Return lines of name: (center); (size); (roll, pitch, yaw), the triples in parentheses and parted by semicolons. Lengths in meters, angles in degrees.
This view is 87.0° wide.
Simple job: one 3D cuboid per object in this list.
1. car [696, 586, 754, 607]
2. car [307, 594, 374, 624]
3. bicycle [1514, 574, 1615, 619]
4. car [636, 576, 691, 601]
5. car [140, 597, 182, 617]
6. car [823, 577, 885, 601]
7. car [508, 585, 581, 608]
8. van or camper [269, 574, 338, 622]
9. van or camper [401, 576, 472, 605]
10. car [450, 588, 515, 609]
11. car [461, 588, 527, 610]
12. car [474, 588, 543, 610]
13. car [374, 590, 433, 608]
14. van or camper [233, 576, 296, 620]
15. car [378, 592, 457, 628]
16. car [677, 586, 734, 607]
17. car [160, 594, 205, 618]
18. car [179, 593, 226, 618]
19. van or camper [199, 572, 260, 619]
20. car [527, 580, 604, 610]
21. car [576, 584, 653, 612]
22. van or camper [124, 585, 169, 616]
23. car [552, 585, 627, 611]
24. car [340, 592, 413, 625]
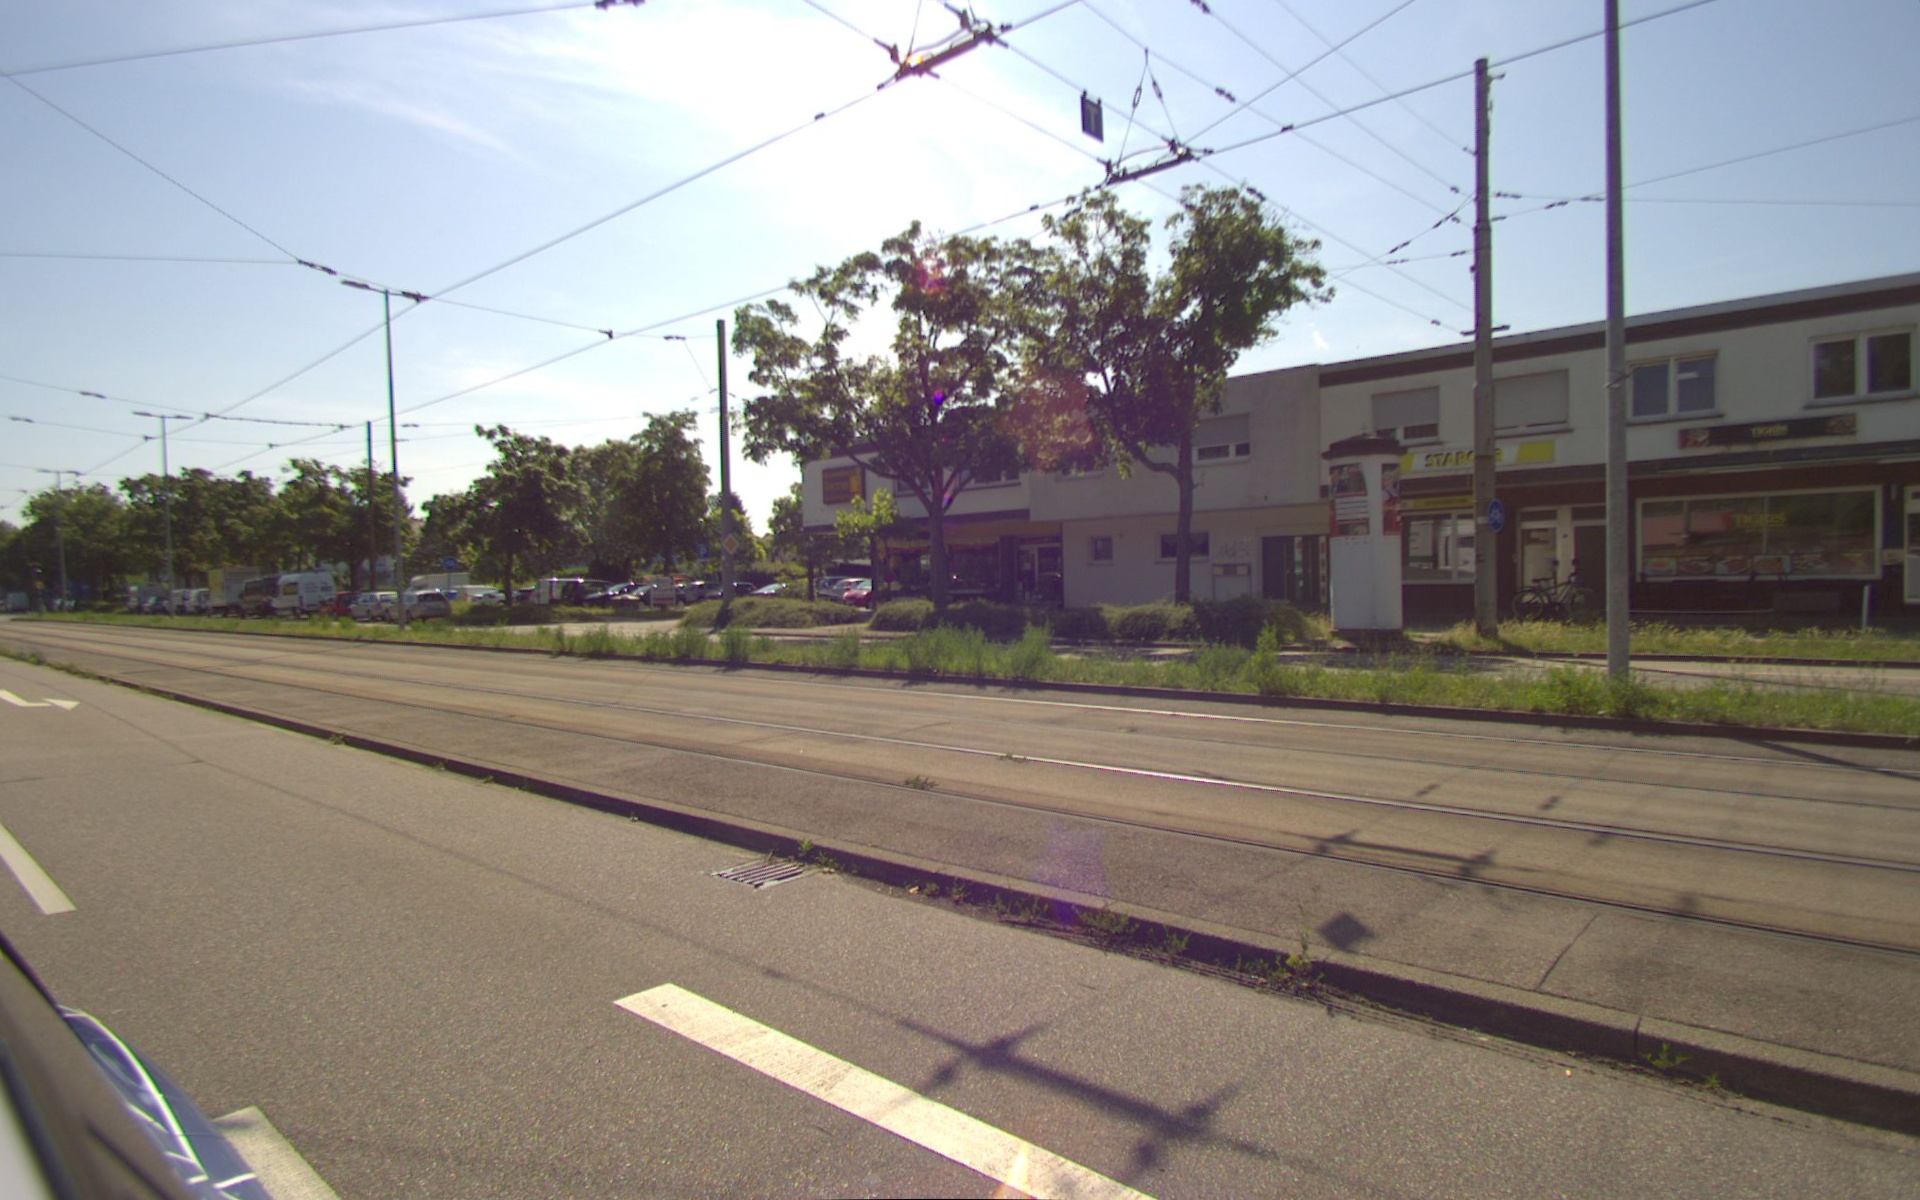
car: (-16.204, -0.252, 69.925); (1.710, 1.372, 3.580); (-1, 1, 39)
car: (-33.656, 0.472, 54.914); (4.229, 1.506, 1.869); (-1, 1, 41)
bicycle: (14.058, -0.084, 23.568); (1.910, 0.990, 0.750); (-1, 1, 41)
car: (-21.937, -0.855, 74.922); (1.710, 1.791, 3.580); (-1, 1, 39)
car: (-64.959, 0.575, 82.290); (4.229, 1.572, 1.869); (-1, 1, 41)
car: (-6.472, -0.654, 61.911); (1.710, 1.372, 3.580); (-1, 1, 39)
car: (-24.592, -0.218, 59.991); (1.710, 1.294, 3.580); (-1, 1, 39)
van or camper: (-37.683, -0.127, 58.069); (4.836, 2.652, 2.014); (-1, 1, 41)
van or camper: (-53.630, -0.985, 103.817); (2.299, 2.751, 6.001); (-1, 1, 43)
car: (-32.126, -0.089, 68.166); (1.710, 1.291, 3.580); (-1, 1, 39)
car: (-30.526, -0.085, 66.360); (1.710, 1.291, 3.580); (-1, 1, 39)
car: (-28.654, -0.085, 64.295); (1.811, 1.291, 3.580); (-1, 1, 39)
car: (-42.669, -0.089, 77.629); (1.710, 1.291, 3.580); (-1, 1, 39)
van or camper: (-43.067, -0.125, 62.623); (4.836, 2.652, 2.014); (-1, 1, 41)
car: (-25.694, 0.445, 47.871); (4.284, 1.506, 1.868); (0, 4, 42)
car: (-18.042, -0.227, 71.762); (1.710, 1.372, 3.580); (-1, 1, 39)
car: (-60.315, 0.434, 78.496); (4.229, 1.781, 1.869); (-1, 1, 41)
car: (-55.229, 0.405, 73.774); (4.229, 1.747, 1.869); (-1, 1, 41)
van or camper: (-49.003, -0.301, 67.824); (5.278, 3.007, 2.101); (-1, 1, 41)
car: (-22.781, -0.305, 58.534); (1.949, 1.581, 3.703); (-1, 1, 39)
car: (-18.801, -0.124, 55.171); (1.710, 1.372, 3.580); (-1, 1, 39)
van or camper: (-69.995, 0.039, 87.053); (5.450, 2.639, 2.087); (0, 0, 41)
car: (-20.854, -0.120, 56.984); (1.710, 1.372, 3.580); (-1, 1, 39)
car: (-29.766, 0.404, 51.591); (4.282, 1.572, 1.869); (-1, 1, 41)
